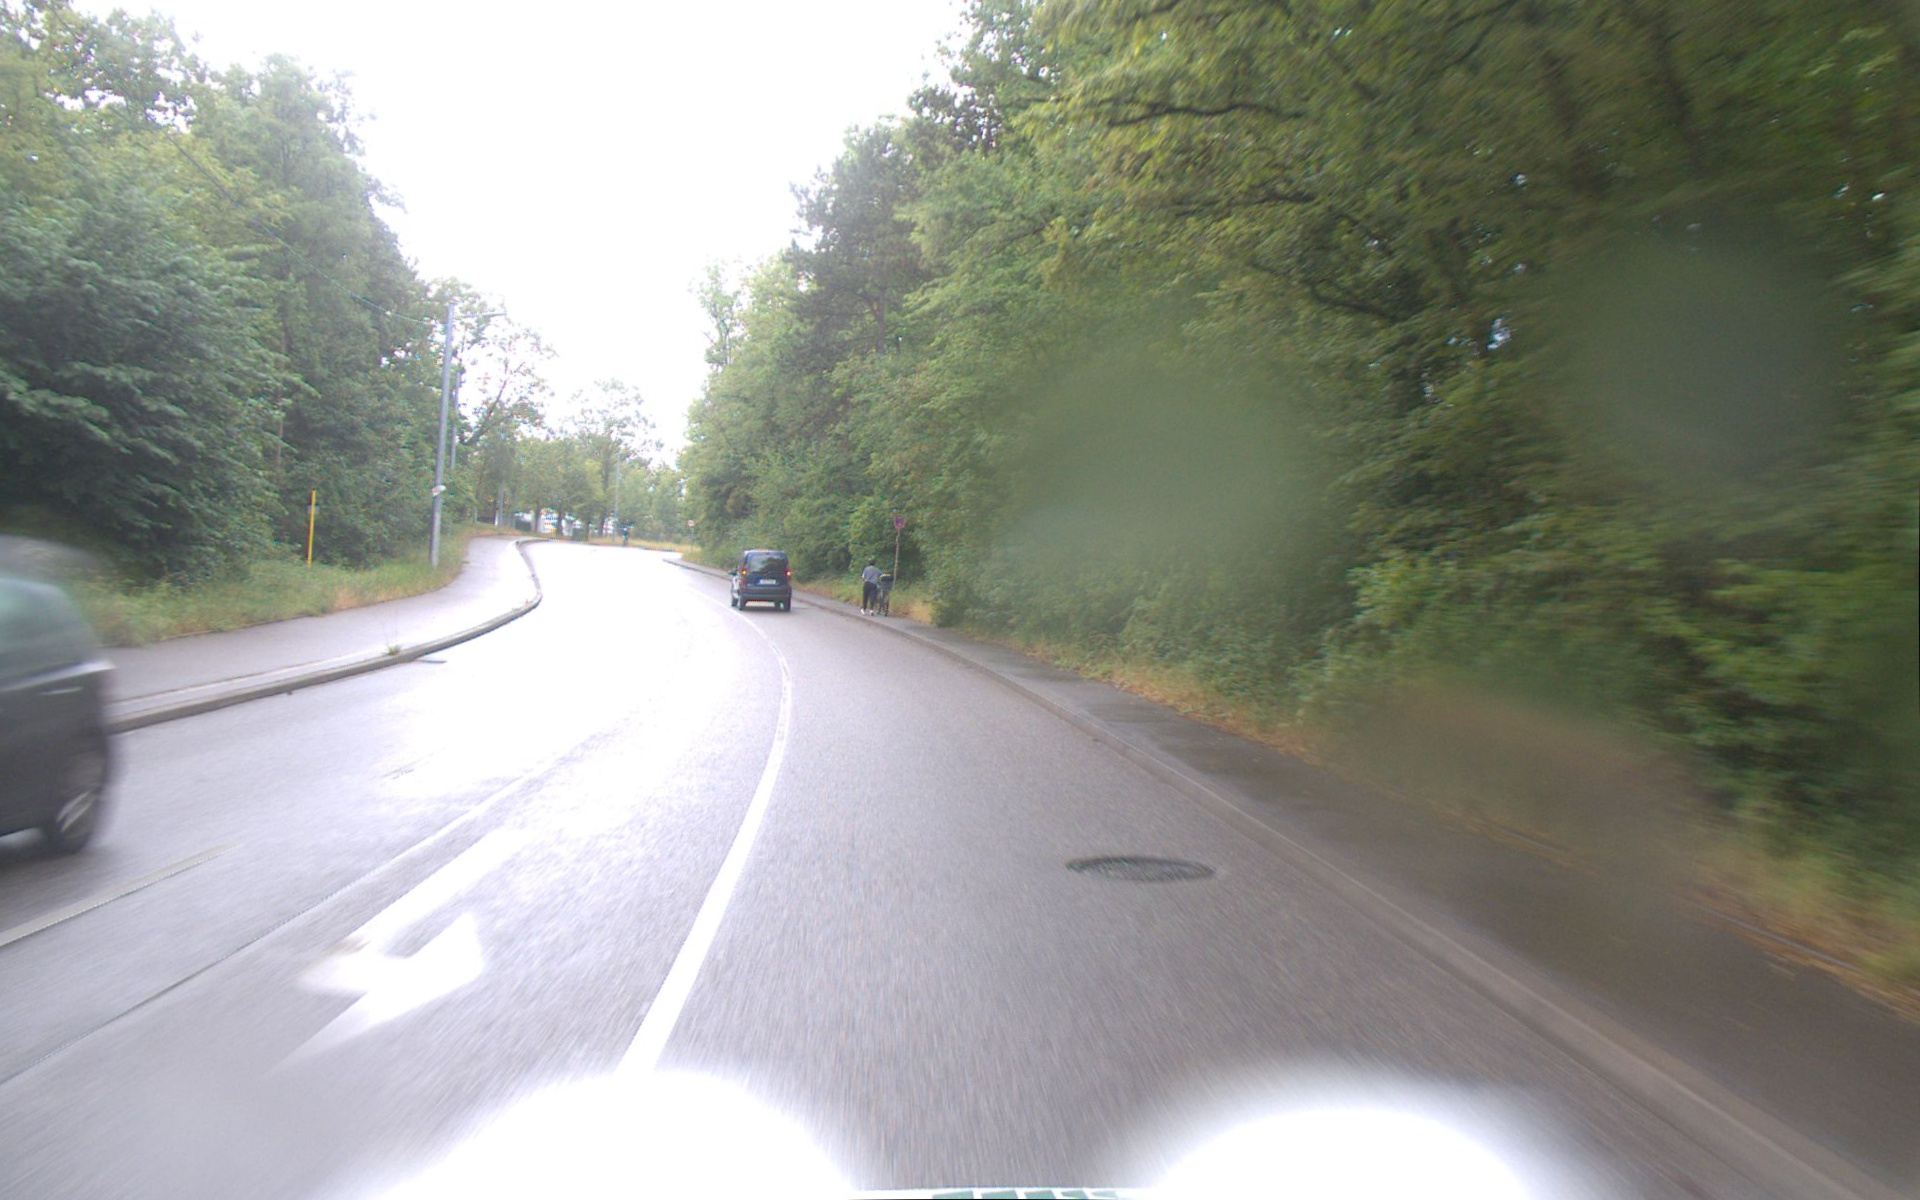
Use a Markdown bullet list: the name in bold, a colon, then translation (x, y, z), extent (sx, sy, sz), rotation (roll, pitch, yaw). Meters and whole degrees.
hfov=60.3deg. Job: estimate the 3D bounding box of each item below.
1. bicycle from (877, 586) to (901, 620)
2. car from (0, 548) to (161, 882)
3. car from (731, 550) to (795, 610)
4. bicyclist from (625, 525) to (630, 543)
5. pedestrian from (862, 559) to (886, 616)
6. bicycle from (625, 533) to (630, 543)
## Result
- **bicycle**: translation (-2.018, 0.080, 46.977), extent (0.349, 0.863, 1.738), rotation (-1, 4, -13)
- **car**: translation (-5.336, 0.574, 7.433), extent (1.791, 1.465, 3.999), rotation (2, 4, -4)
- **car**: translation (-6.264, -0.625, 52.350), extent (1.794, 1.825, 3.991), rotation (0, 0, -10)
- **bicyclist**: translation (-31.071, -6.165, 154.647), extent (0.330, 1.601, 1.294), rotation (3, 3, -13)
- **pedestrian**: translation (-2.458, -0.358, 47.305), extent (0.554, 1.604, 0.767), rotation (0, -1, -13)
- **bicycle**: translation (-31.091, -5.809, 154.685), extent (0.349, 0.863, 2.087), rotation (1, 3, -13)
